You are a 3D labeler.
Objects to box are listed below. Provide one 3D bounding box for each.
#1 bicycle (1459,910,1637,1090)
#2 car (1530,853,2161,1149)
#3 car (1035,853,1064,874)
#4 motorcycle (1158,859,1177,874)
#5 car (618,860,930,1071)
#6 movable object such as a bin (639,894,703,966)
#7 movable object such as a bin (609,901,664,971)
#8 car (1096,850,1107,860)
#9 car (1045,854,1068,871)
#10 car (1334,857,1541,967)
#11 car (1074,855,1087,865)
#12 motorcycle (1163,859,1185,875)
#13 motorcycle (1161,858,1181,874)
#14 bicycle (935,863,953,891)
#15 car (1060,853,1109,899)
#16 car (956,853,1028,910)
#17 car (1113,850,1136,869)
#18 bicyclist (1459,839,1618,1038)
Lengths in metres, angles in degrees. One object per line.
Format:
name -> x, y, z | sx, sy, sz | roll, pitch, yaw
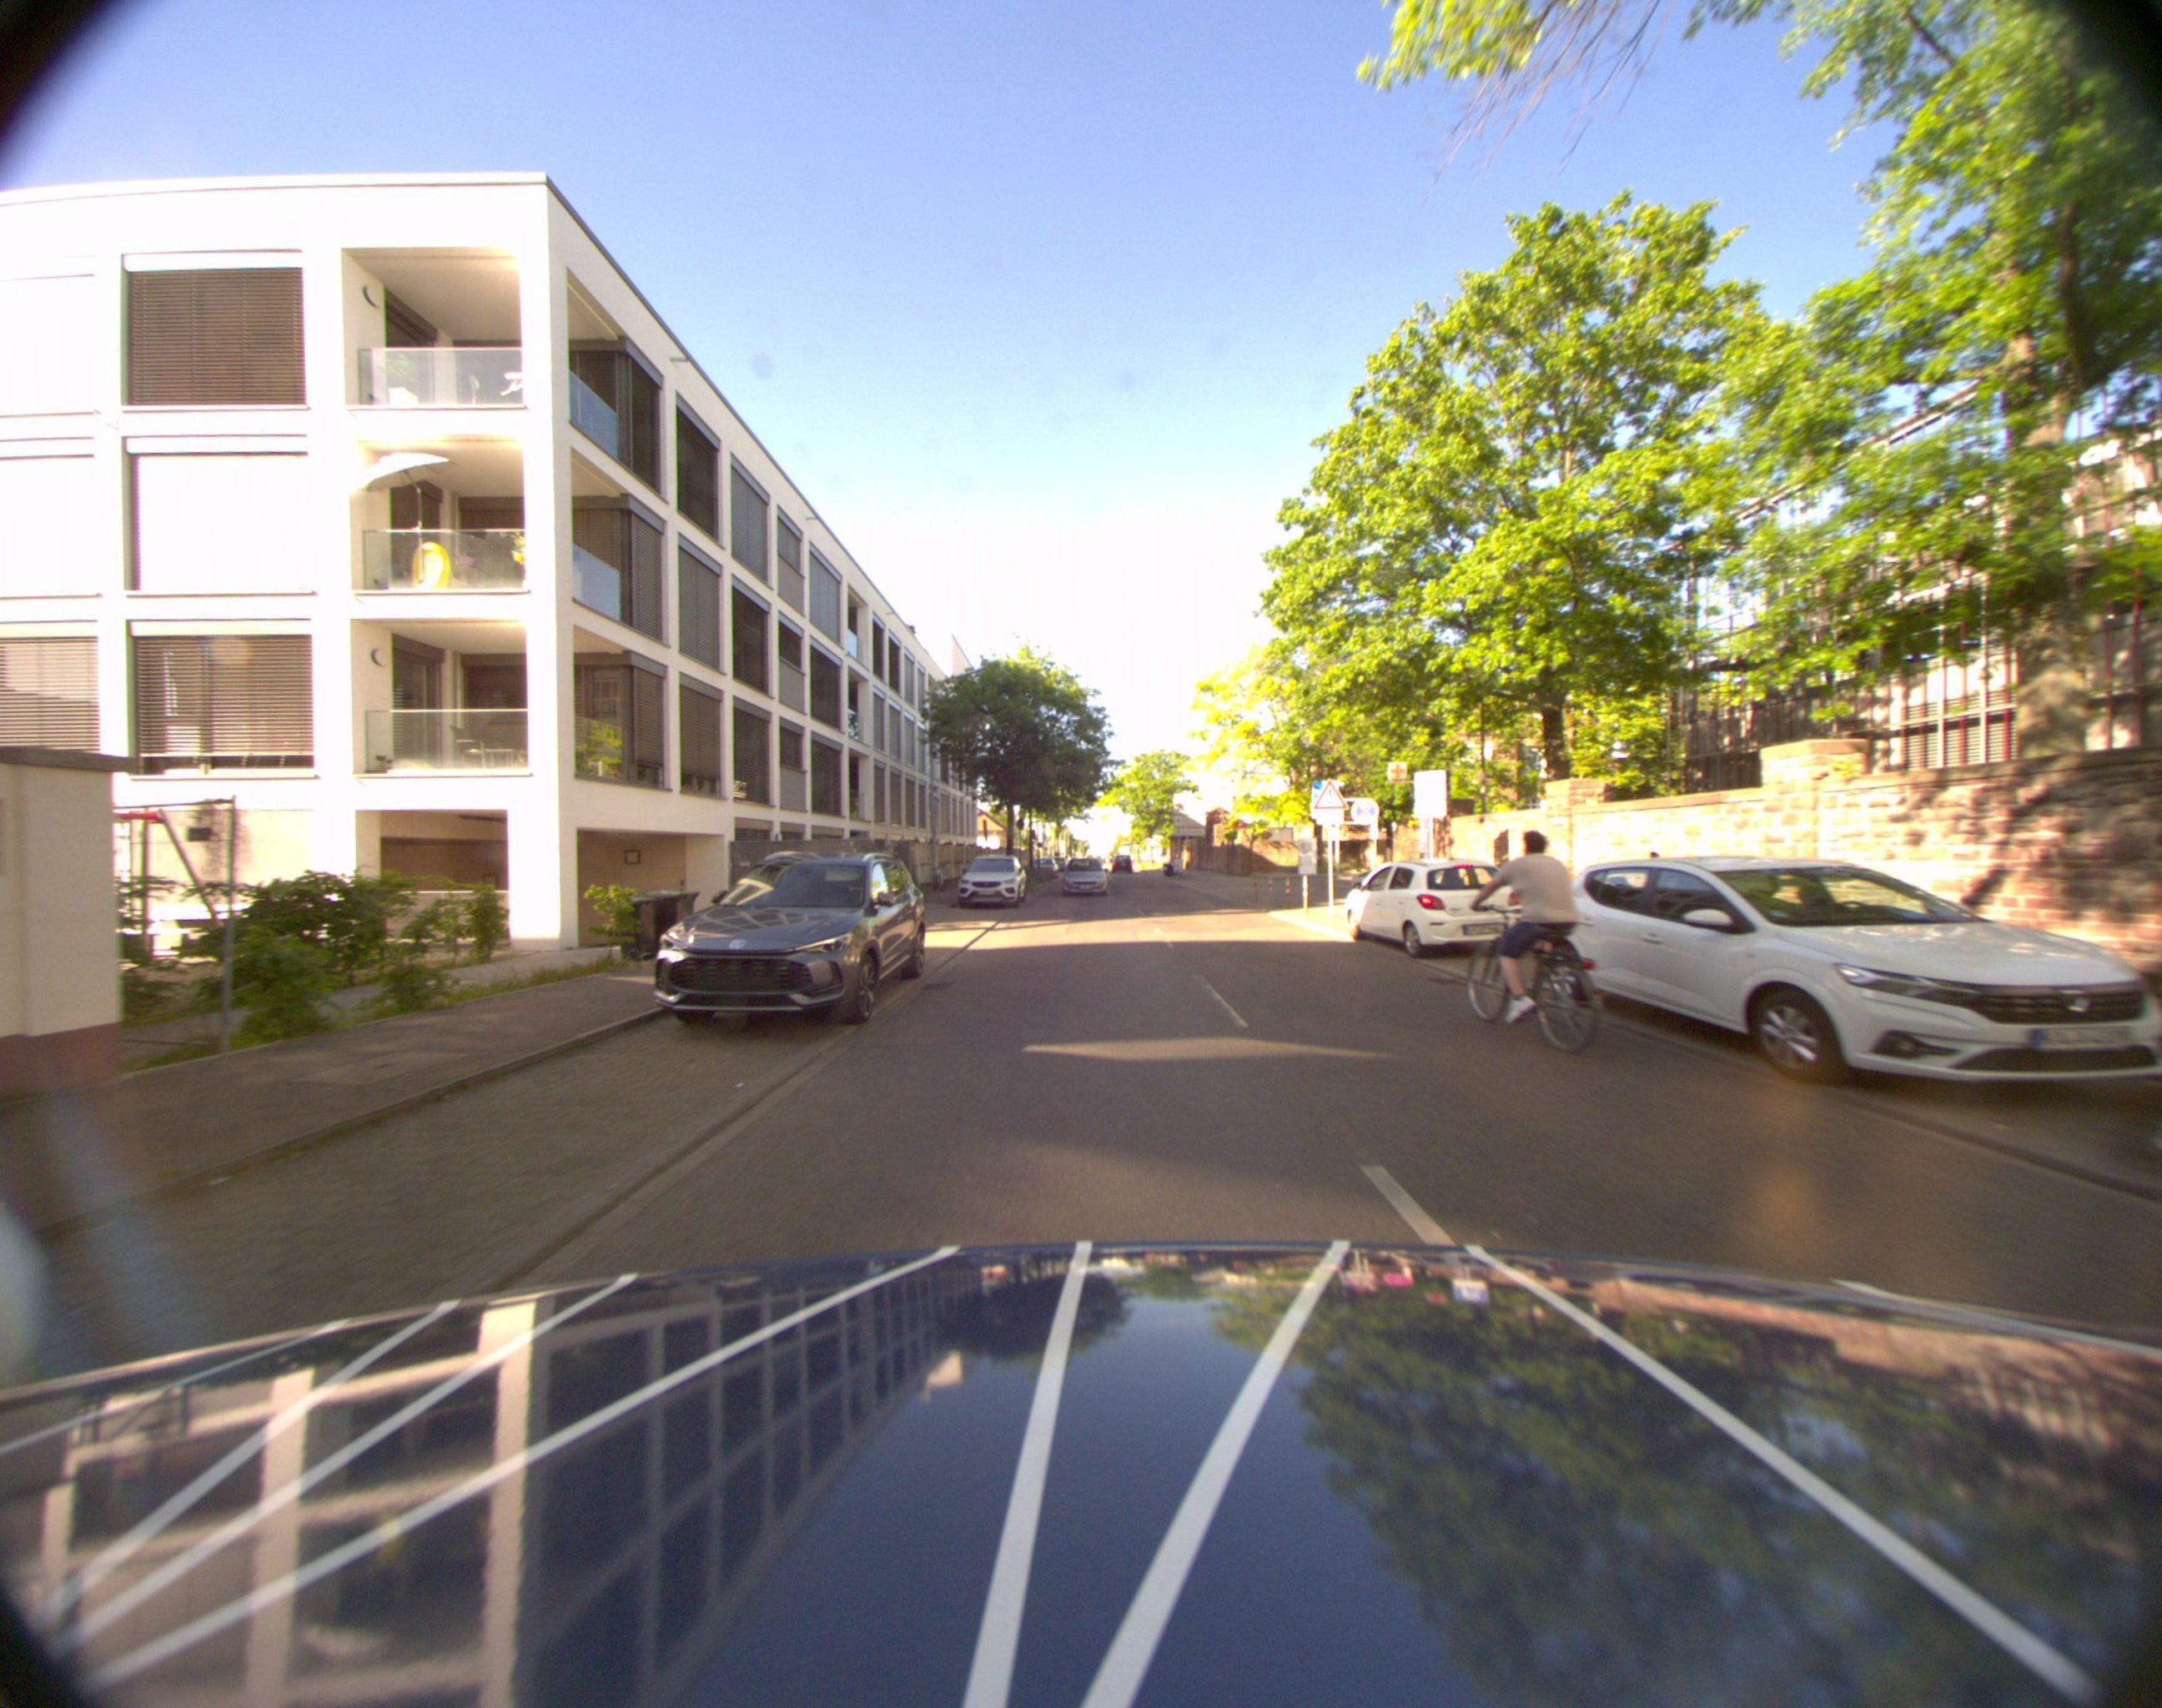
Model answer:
bicycle -> 3.777, 1.108, 6.323 | 0.358, 1.114, 1.866 | -2, 1, 2
car -> 5.567, 0.806, 6.077 | 1.681, 1.502, 3.849 | -4, 0, 1
car -> -2.146, 0.644, 53.344 | 1.724, 1.402, 4.763 | -1, 0, 1
motorcycle -> 6.498, 0.906, 56.912 | 0.530, 1.033, 2.095 | -2, 0, 32
car -> -2.917, 0.924, 8.327 | 1.716, 1.629, 4.302 | -1, 0, -1
movable object such as a bin -> -6.270, 1.147, 11.637 | 0.599, 1.021, 0.564 | -2, 1, 4
movable object such as a bin -> -6.474, 1.185, 11.076 | 0.435, 0.958, 0.511 | -2, 1, 5
car -> 3.756, 0.163, 140.889 | 1.834, 1.732, 4.000 | -2, 1, 1
car -> -2.361, 0.798, 74.269 | 1.887, 1.592, 4.298 | -1, 0, 1
car -> 5.610, 0.819, 12.500 | 1.578, 1.394, 3.750 | -4, 0, 0
car -> -0.064, 0.893, 113.214 | 1.757, 1.459, 3.485 | -2, 1, 0
motorcycle -> 6.445, 0.893, 52.608 | 0.599, 1.026, 2.132 | -1, 0, 35
motorcycle -> 6.572, 0.877, 55.529 | 0.530, 1.033, 2.095 | -2, 0, 32
bicycle -> -5.521, 0.907, 30.692 | 0.337, 1.035, 1.831 | -1, 1, 0
car -> 0.192, 0.810, 30.262 | 1.747, 1.613, 4.106 | -2, 1, 2
car -> -2.742, 0.813, 24.296 | 1.797, 1.606, 4.126 | -2, 0, -1
car -> 3.812, 0.488, 66.824 | 1.648, 1.602, 4.020 | 1, 0, -1
bicyclist -> 3.771, 0.650, 6.355 | 0.722, 1.513, 1.005 | -2, 1, 4
